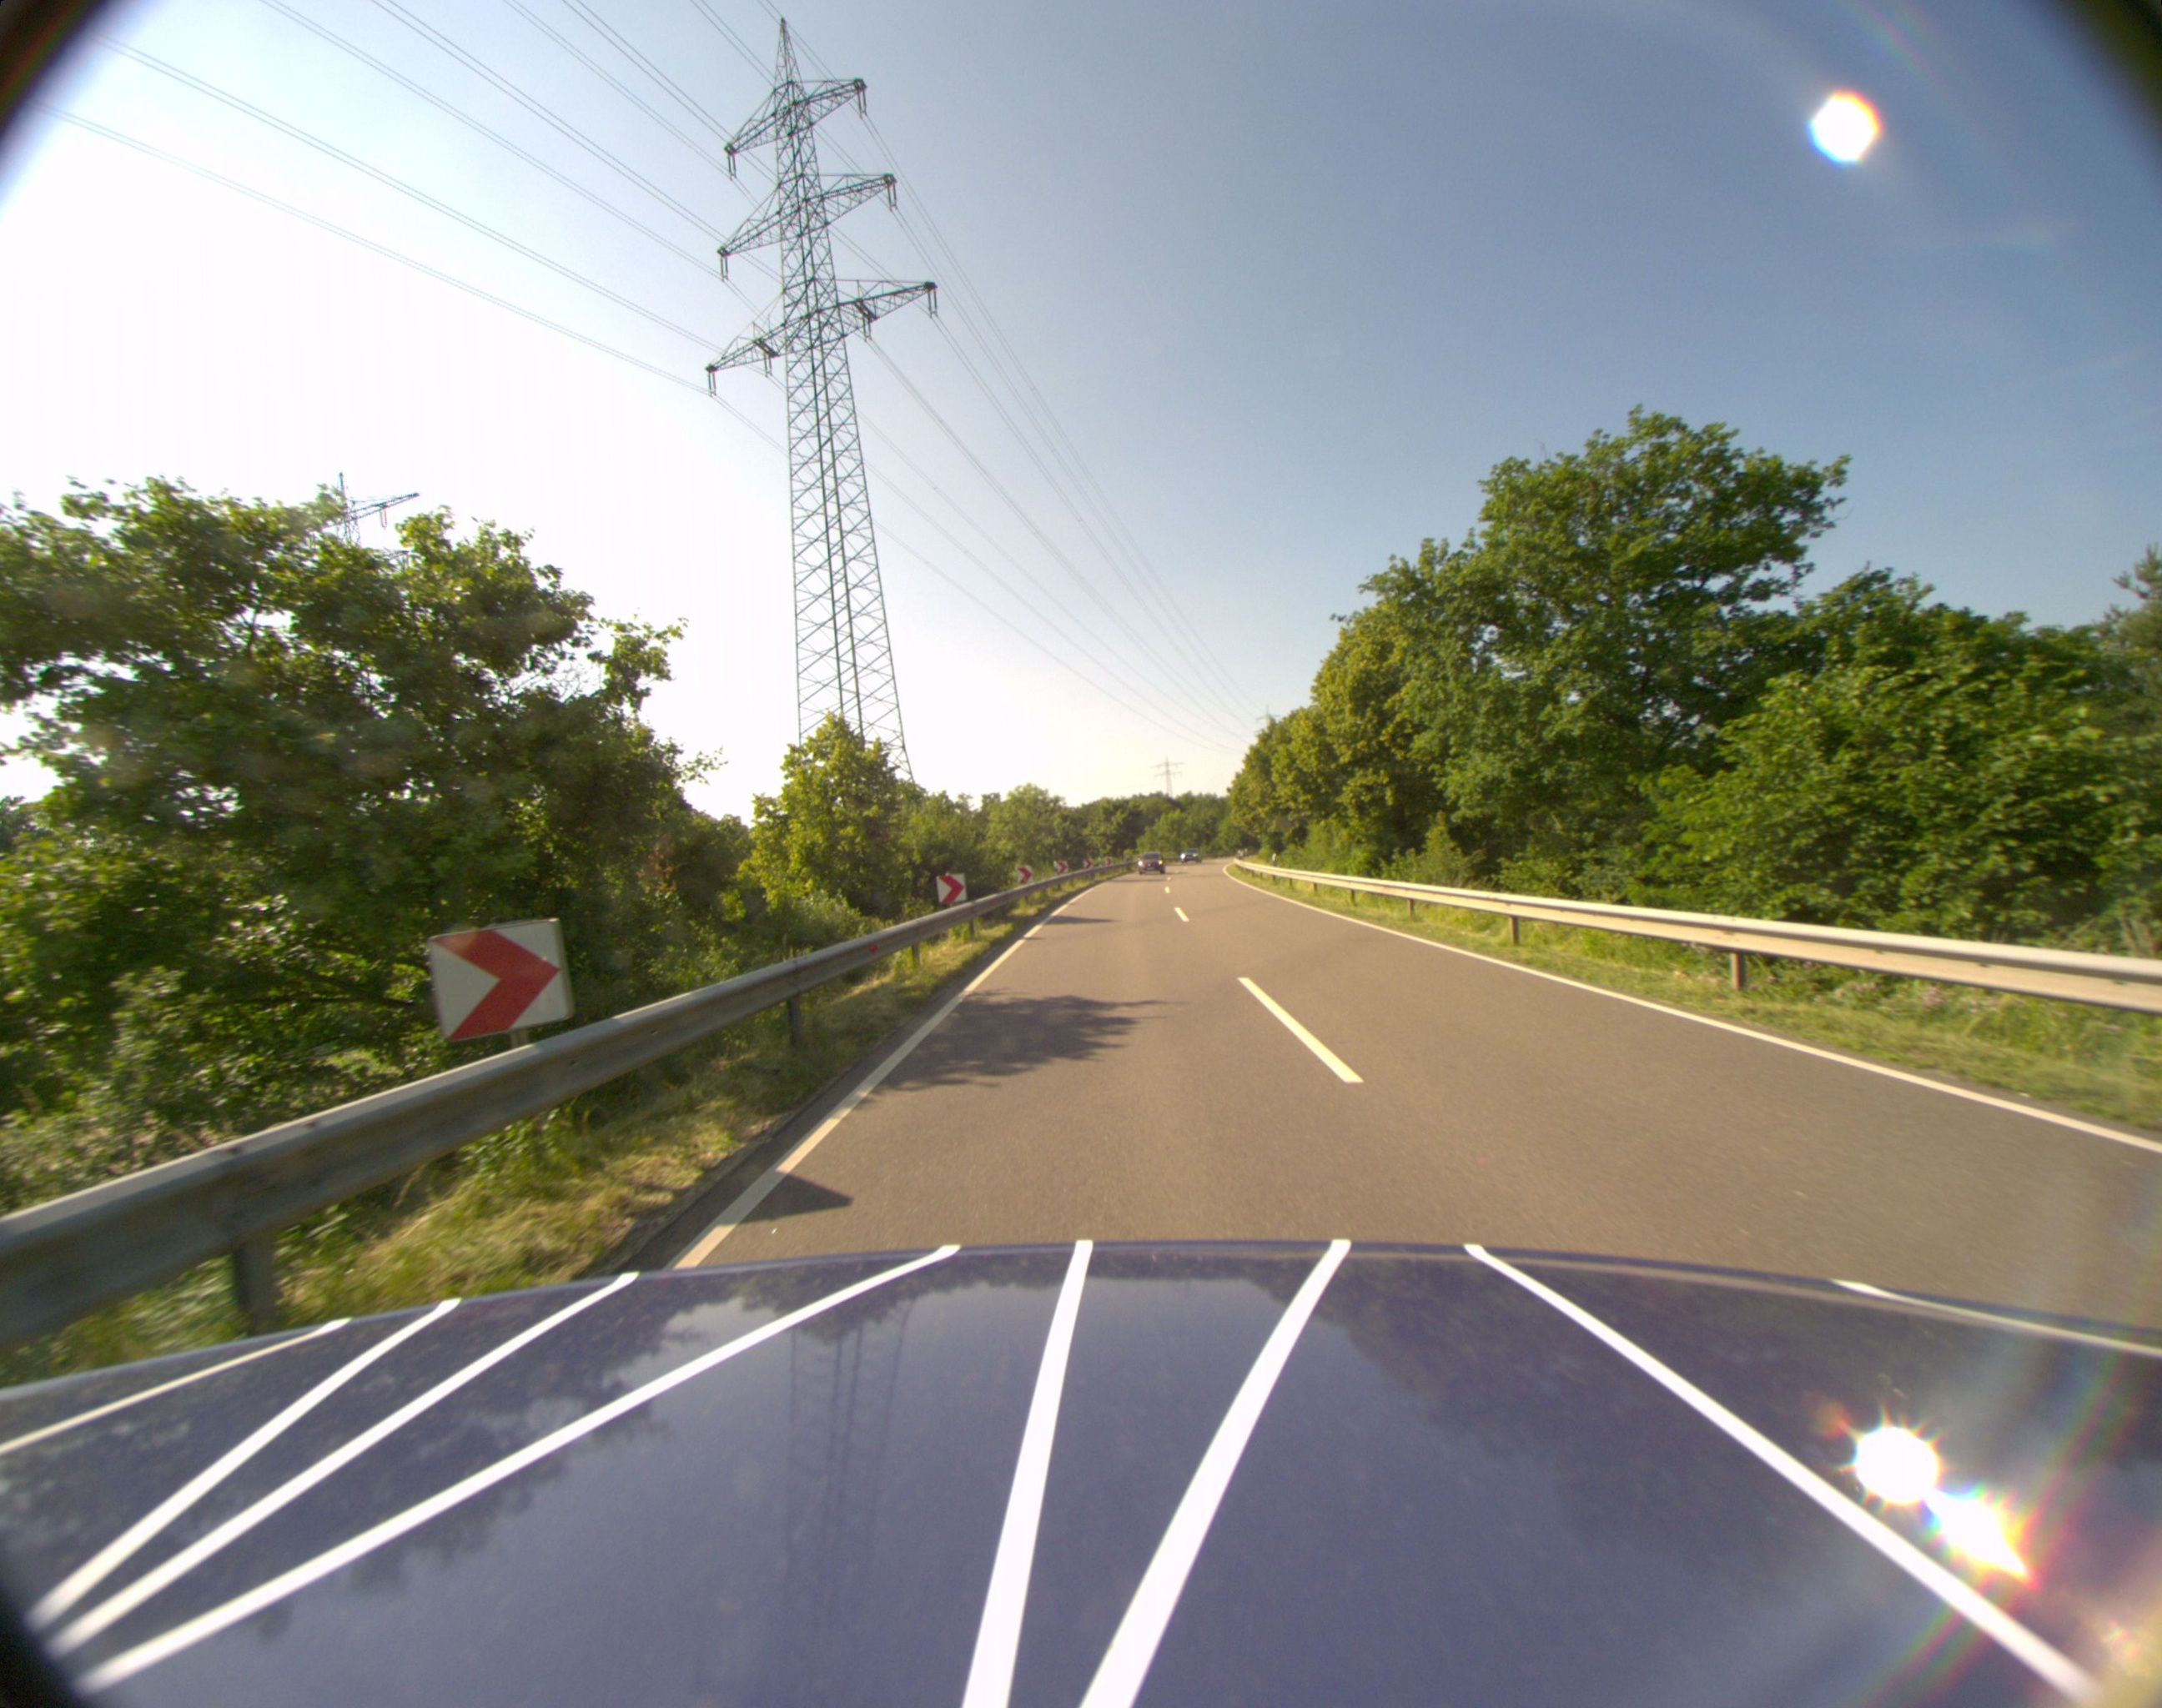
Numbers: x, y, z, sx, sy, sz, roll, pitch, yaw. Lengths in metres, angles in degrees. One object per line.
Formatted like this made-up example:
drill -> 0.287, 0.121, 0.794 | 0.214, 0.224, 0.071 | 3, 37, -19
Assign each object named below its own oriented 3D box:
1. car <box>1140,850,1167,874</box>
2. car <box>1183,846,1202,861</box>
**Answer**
car -> 5.047, 0.524, 52.454 | 1.606, 1.486, 4.001 | -2, 2, 8
car -> 12.795, -0.106, 87.079 | 1.605, 1.486, 4.003 | -2, 2, 15
